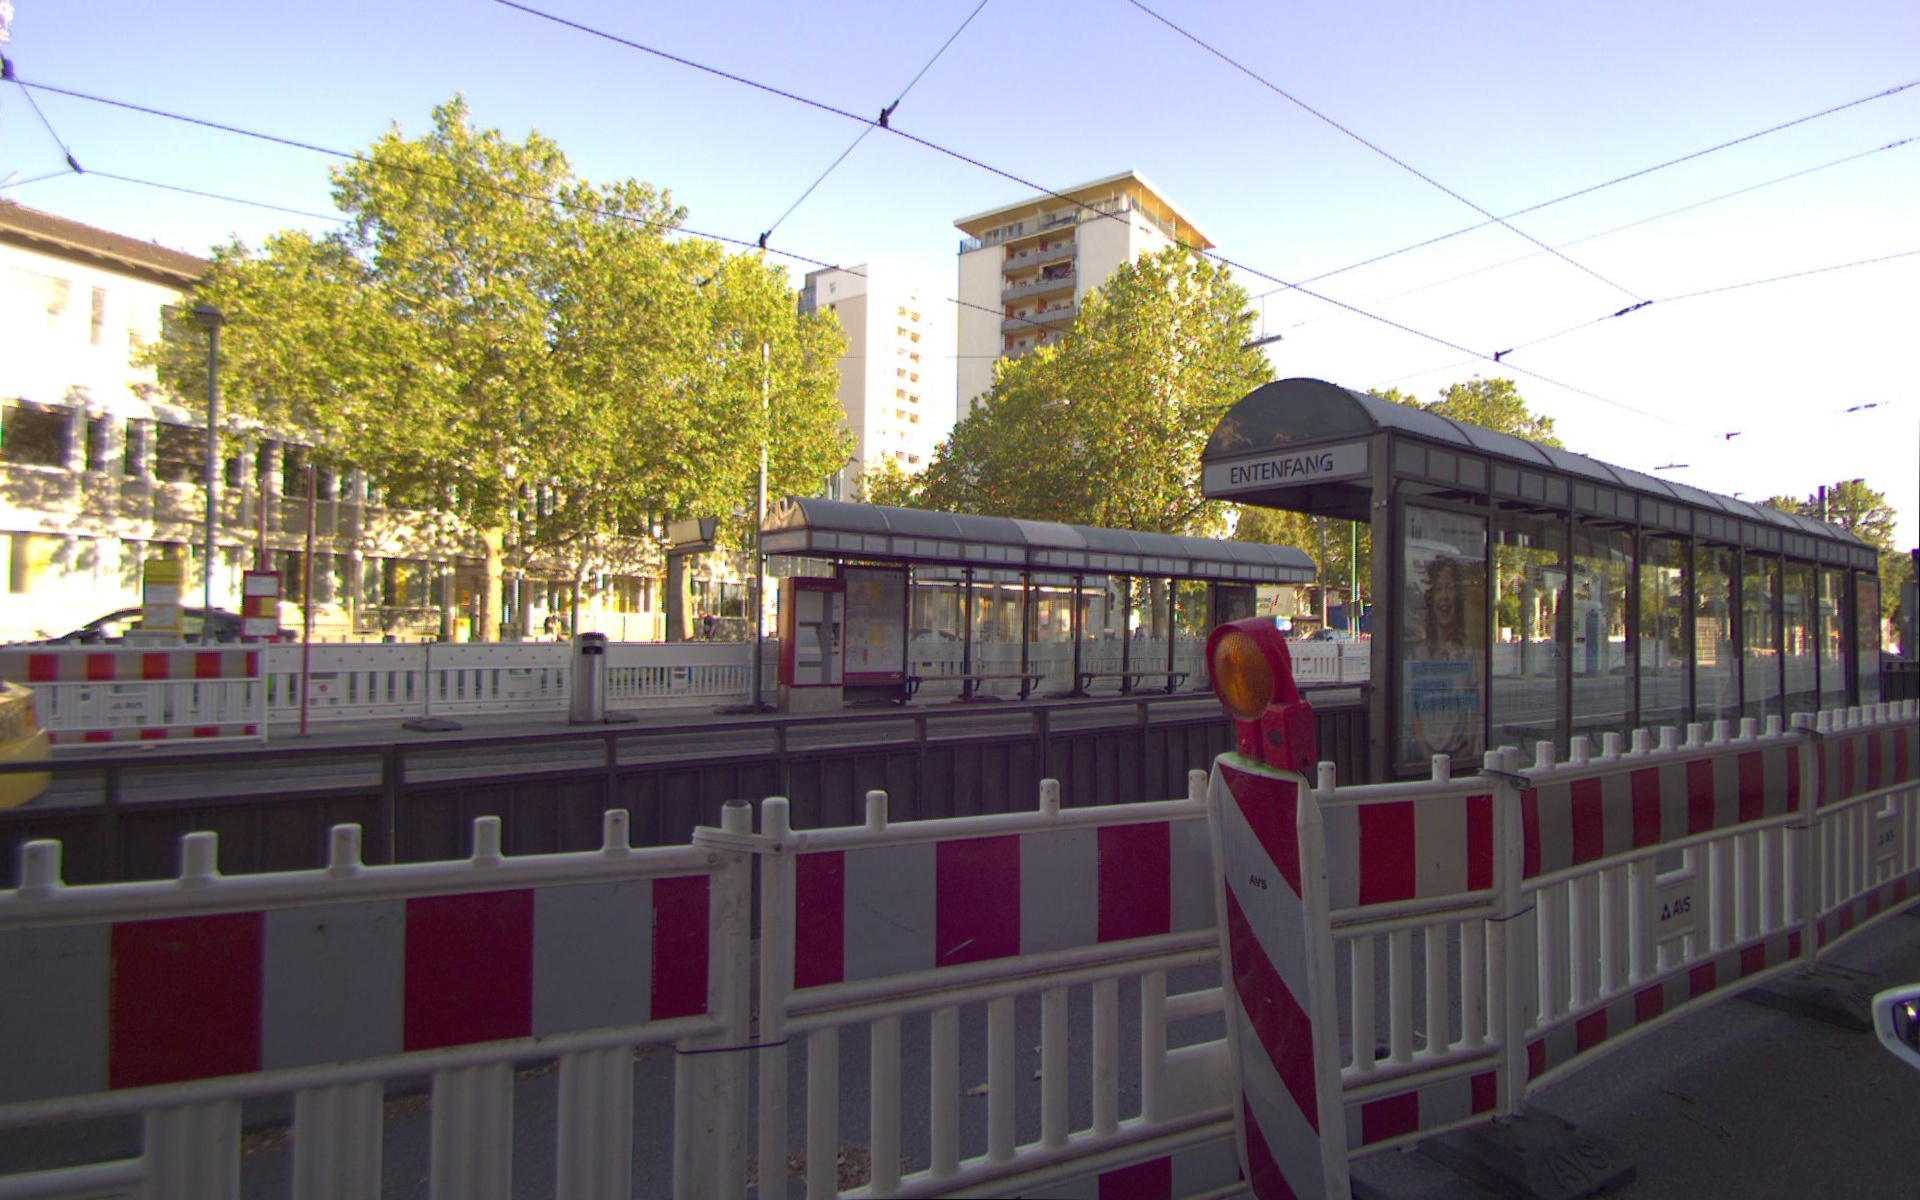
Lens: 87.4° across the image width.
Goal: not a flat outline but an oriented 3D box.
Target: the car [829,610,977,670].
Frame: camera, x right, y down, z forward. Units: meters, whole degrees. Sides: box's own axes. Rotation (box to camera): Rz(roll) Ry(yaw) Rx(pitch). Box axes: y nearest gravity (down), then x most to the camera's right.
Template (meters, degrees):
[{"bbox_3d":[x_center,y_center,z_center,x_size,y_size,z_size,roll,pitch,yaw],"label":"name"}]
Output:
[{"bbox_3d":[-1.516,1.075,27.319,3.740,1.532,1.646,2,-2,-38],"label":"car"}]

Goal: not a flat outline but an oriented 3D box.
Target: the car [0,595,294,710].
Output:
[{"bbox_3d":[-13.799,0.825,16.598,4.544,1.689,1.881,2,0,-37],"label":"car"}]

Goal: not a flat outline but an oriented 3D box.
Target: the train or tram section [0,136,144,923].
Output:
[{"bbox_3d":[-9.172,-0.404,2.810,10.207,3.533,2.806,2,-1,-28],"label":"train or tram section"}]

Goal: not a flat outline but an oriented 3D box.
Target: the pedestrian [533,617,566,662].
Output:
[{"bbox_3d":[-16.294,1.578,39.858,0.794,1.751,0.883,0,-1,31],"label":"pedestrian"}]
